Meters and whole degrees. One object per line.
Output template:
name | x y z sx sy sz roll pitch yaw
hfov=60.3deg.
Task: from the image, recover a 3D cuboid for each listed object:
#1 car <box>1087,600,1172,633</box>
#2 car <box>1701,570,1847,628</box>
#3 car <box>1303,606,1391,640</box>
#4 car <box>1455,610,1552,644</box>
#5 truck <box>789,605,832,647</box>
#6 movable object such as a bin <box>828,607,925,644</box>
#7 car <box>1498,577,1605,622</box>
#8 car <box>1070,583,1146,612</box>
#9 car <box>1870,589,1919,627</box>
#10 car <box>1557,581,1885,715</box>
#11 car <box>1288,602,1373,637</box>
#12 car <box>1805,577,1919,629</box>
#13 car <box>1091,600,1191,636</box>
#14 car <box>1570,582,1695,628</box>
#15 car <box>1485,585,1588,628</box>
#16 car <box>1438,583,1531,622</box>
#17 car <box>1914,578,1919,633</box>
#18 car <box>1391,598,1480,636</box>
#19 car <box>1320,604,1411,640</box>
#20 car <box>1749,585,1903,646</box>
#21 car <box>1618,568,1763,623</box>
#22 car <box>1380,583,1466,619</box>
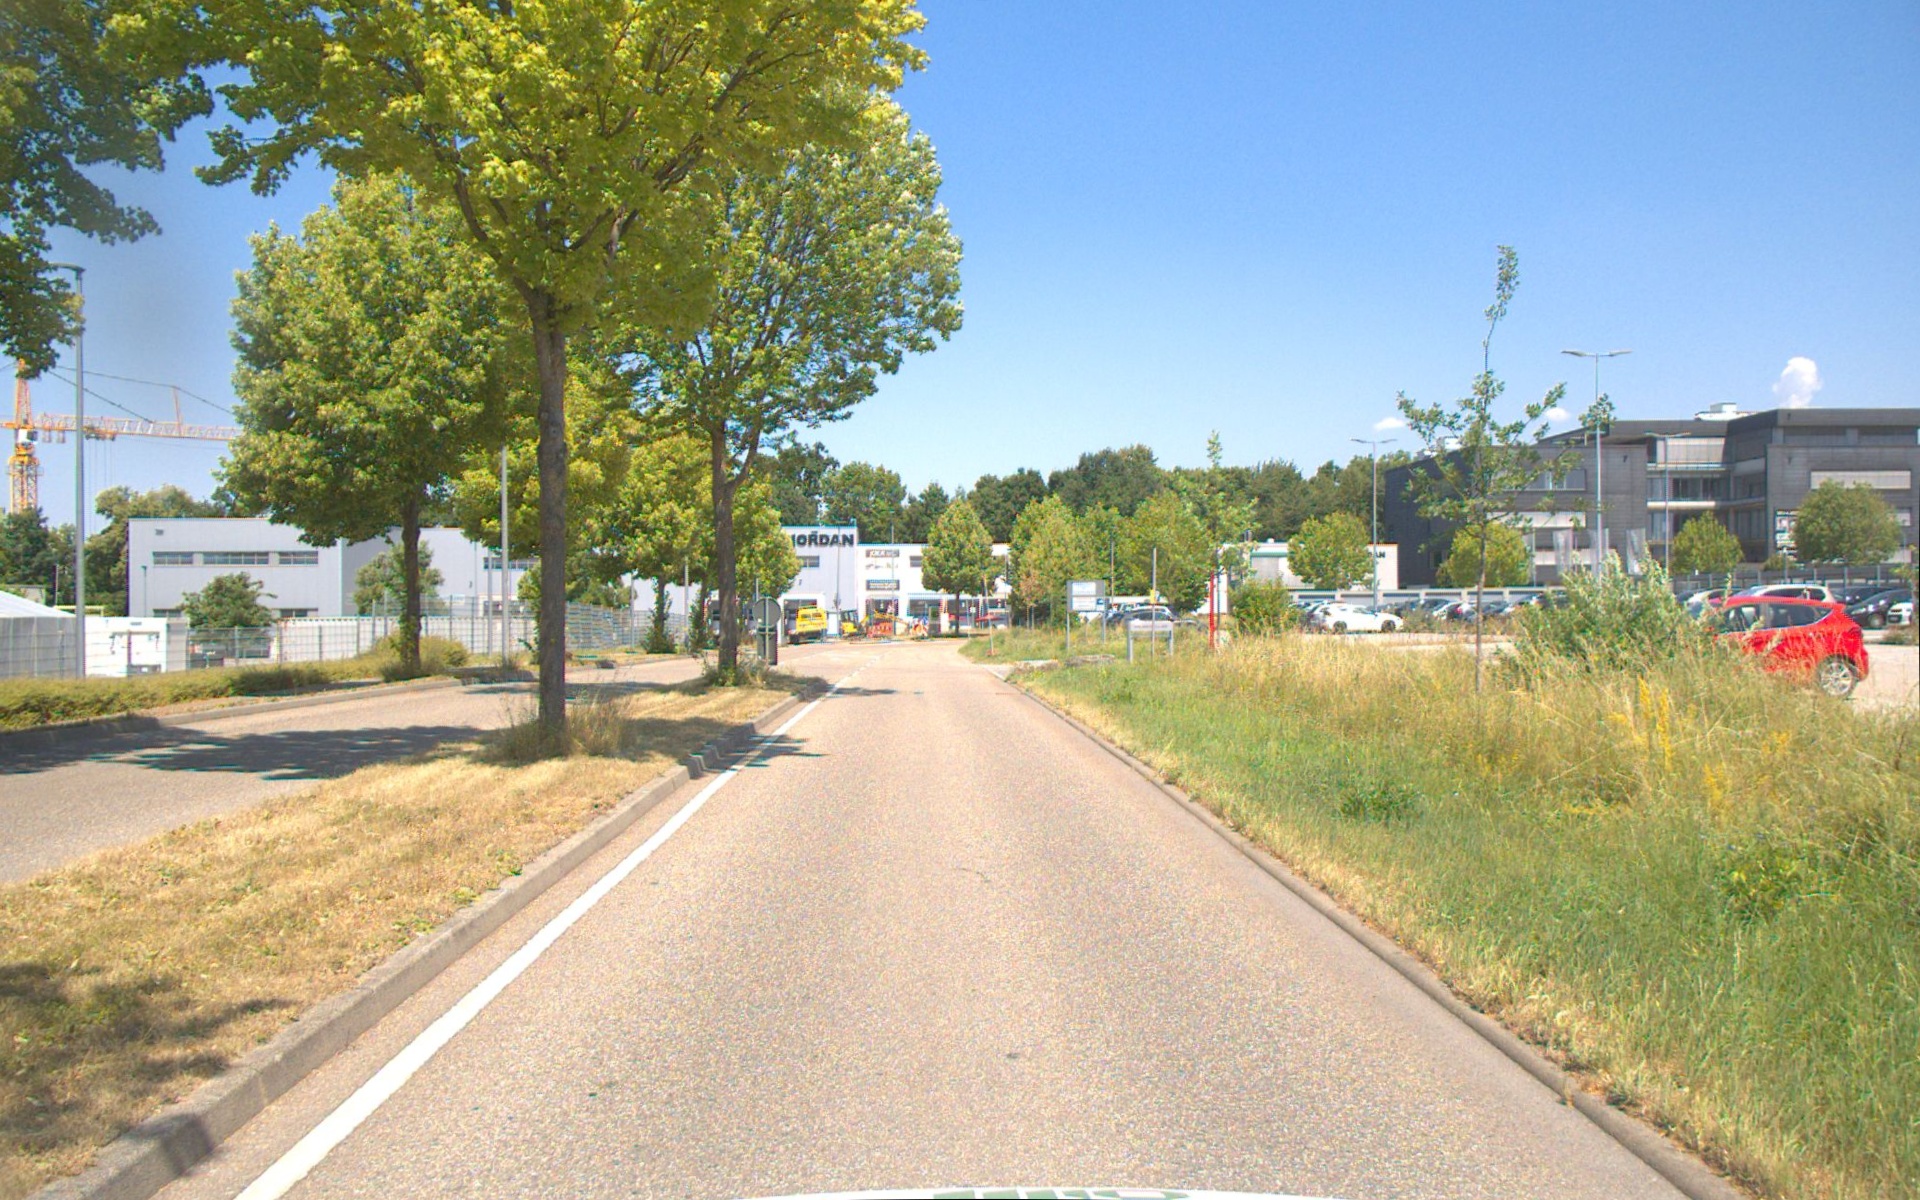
car | 8.796 0.841 86.069 4.082 1.424 1.767 -3 3 -5
car | 26.426 -0.041 53.783 3.910 1.623 1.767 -3 3 -5
car | 19.321 1.148 82.676 3.910 1.424 1.767 -3 3 -5
car | 25.387 1.268 77.315 3.910 1.293 1.767 -3 3 -5
truck | -12.261 2.073 135.003 2.885 2.935 5.797 -3 3 -10
movable object such as a bin | -6.765 2.052 134.975 7.366 2.543 3.670 -2 3 6
car | 25.239 -0.033 70.677 3.910 1.623 1.767 -3 3 -5
car | 8.455 -0.156 94.598 4.082 1.424 1.767 -3 3 -5
car | 35.799 0.244 60.736 3.911 1.213 1.730 -3 3 -6
car | 11.148 0.691 24.422 3.907 1.754 1.926 -2 -1 -2
car | 19.133 0.992 85.584 3.910 1.516 1.767 -3 3 -5
car | 35.080 0.111 63.888 3.911 1.712 1.998 -3 3 -6
car | 8.748 0.879 80.304 4.607 1.424 1.922 -2 3 0
car | 24.867 0.176 61.240 3.910 1.417 1.767 -3 3 -5
car | 25.560 0.294 73.363 3.910 1.623 1.767 -3 3 -5
car | 25.322 0.118 79.912 3.910 1.623 1.767 -3 3 -5
car | 26.751 0.076 41.998 3.907 1.420 1.926 -2 -1 -2
car | 23.781 0.845 82.769 3.910 1.623 1.767 -3 3 -5
car | 19.635 1.053 80.201 3.909 1.424 1.768 -3 3 -4
car | 26.981 0.463 51.595 3.910 1.623 1.767 -3 3 -5
car | 25.365 -0.181 57.487 4.281 1.623 1.767 -3 3 -5
car | 23.990 0.042 85.698 3.910 1.623 1.767 -3 3 -5
